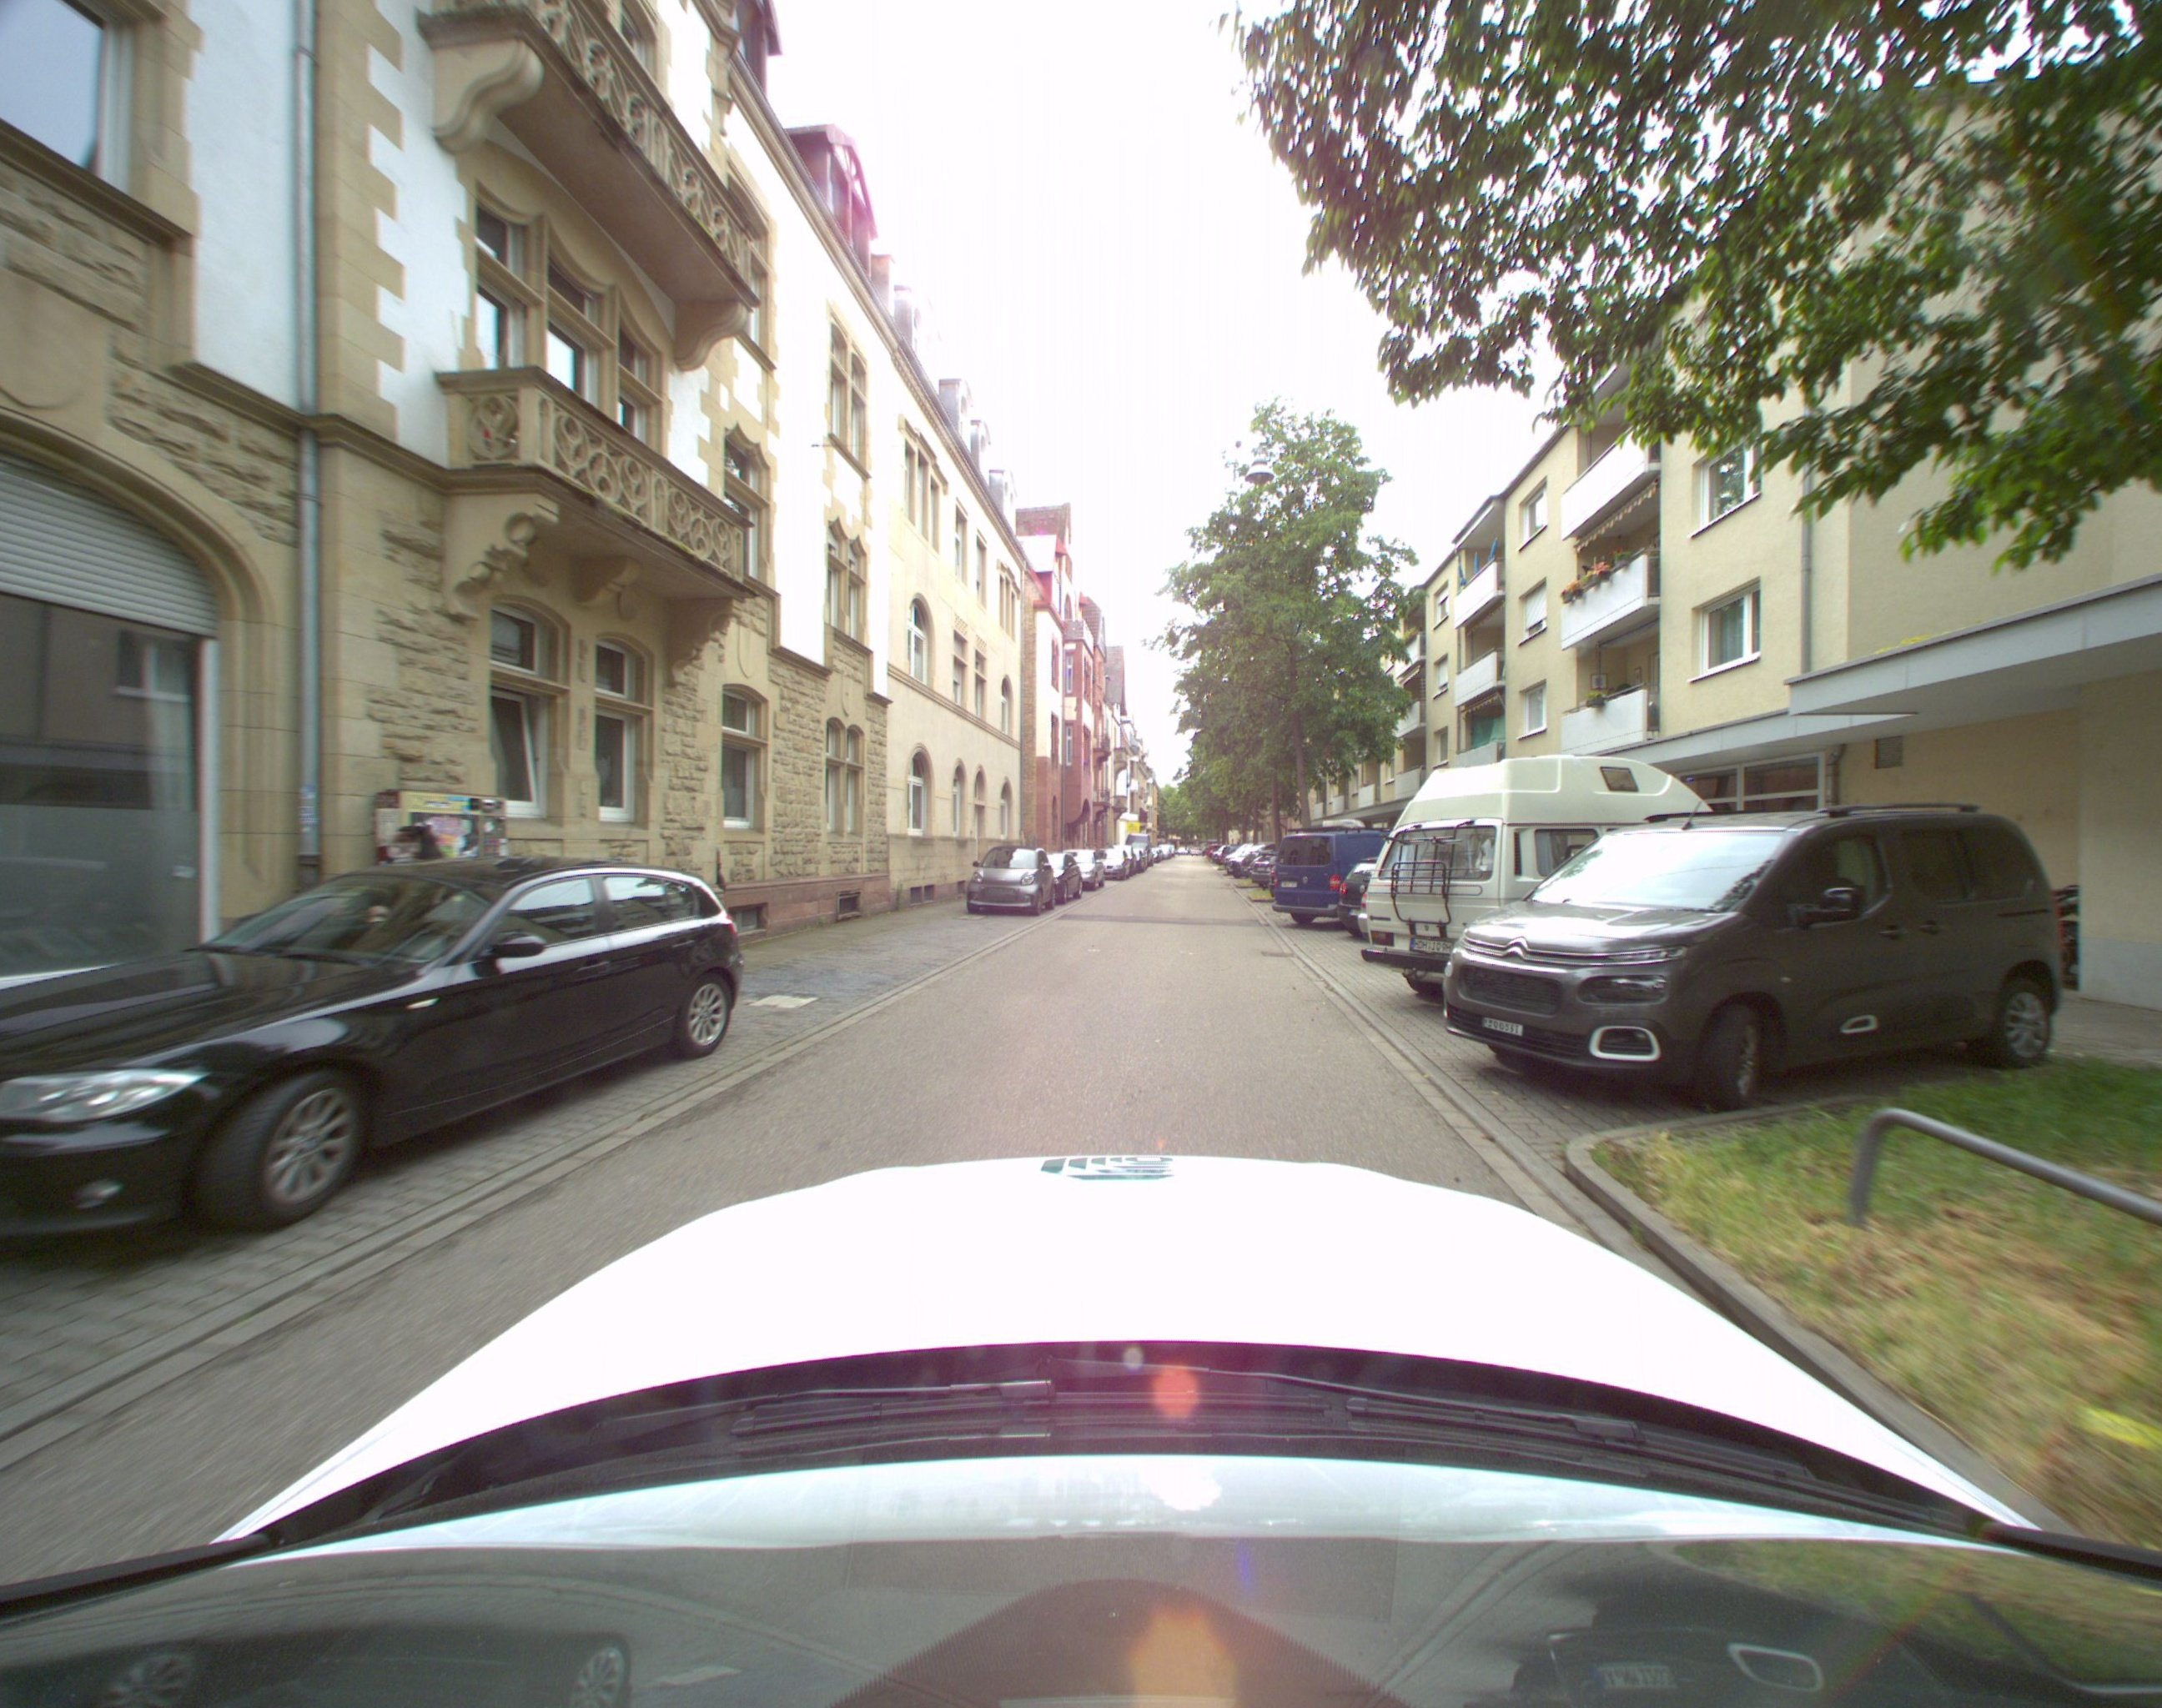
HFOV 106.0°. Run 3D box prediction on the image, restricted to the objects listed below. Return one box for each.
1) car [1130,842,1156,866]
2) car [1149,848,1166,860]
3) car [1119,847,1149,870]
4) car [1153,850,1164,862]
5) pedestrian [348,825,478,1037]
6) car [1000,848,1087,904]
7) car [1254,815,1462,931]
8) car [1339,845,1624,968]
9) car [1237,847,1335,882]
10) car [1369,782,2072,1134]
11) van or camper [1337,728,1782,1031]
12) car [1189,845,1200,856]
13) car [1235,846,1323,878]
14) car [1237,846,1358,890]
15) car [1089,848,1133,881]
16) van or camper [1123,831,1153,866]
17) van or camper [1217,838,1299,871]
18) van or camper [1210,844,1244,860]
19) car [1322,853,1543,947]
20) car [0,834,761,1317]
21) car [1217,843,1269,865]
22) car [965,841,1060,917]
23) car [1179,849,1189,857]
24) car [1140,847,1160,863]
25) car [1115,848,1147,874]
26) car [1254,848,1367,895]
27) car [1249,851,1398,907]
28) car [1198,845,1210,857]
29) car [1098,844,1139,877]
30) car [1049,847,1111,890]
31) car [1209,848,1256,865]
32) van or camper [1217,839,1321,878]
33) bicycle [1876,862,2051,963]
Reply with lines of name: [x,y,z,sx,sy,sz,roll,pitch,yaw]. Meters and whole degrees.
car: [5.364,-0.025,69.969,1.982,2.013,4.902,0,0,8]
car: [9.790,0.022,103.764,1.982,1.475,4.009,0,0,8]
car: [3.610,0.315,54.890,1.658,1.473,4.009,2,0,8]
car: [9.105,0.183,95.582,1.129,1.309,3.267,-3,0,7]
pedestrian: [-5.016,0.548,6.140,0.512,1.518,0.548,0,0,8]
car: [-0.957,0.584,23.111,1.716,1.386,3.937,2,0,8]
car: [6.009,0.334,17.528,4.417,2.196,2.045,0,0,-35]
car: [5.880,0.687,11.924,3.824,1.417,1.710,-3,-1,-26]
car: [9.530,0.472,37.923,4.050,1.483,1.936,-1,0,-18]
car: [4.500,0.535,5.867,4.343,1.854,1.900,0,0,-18]
van or camper: [5.210,0.206,8.810,4.604,2.595,1.895,0,0,-25]
car: [21.105,-0.638,151.748,1.983,1.794,4.007,2,0,6]
car: [9.858,0.383,40.619,3.864,1.502,1.899,-1,0,-22]
car: [8.510,0.521,32.041,4.227,1.500,1.963,-2,0,-20]
car: [1.476,0.457,38.874,1.653,1.420,3.938,2,1,8]
van or camper: [4.578,-0.410,64.757,1.997,2.651,5.328,0,0,8]
van or camper: [11.331,0.043,52.281,4.742,1.994,1.988,-1,-2,-18]
van or camper: [19.625,-0.292,109.710,4.161,2.085,1.939,0,0,-20]
car: [6.317,0.733,14.623,3.674,1.480,1.675,0,0,-26]
car: [-3.742,0.654,4.678,1.699,1.494,4.011,2,2,9]
car: [14.623,-0.004,73.647,4.188,1.869,1.985,-2,0,-22]
car: [-1.546,0.522,19.362,1.638,1.570,2.963,2,2,7]
car: [20.612,-0.183,163.223,1.811,1.645,3.761,2,0,7]
car: [6.918,0.053,81.163,1.780,1.480,4.031,1,0,7]
car: [3.095,0.375,50.060,1.625,1.473,4.009,2,1,8]
car: [8.053,0.592,28.676,3.365,1.496,1.843,-2,0,-15]
car: [6.967,0.642,23.268,4.128,1.442,1.834,-1,0,-33]
car: [22.189,-0.572,146.725,1.983,2.013,4.008,3,1,7]
car: [2.117,0.305,44.857,1.776,1.646,4.371,2,1,8]
car: [0.032,0.479,30.090,1.717,1.386,4.146,2,1,8]
car: [14.226,0.202,76.557,4.028,1.559,1.870,0,0,-23]
van or camper: [10.035,0.213,43.476,5.023,1.869,2.113,-2,0,-20]
bicycle: [10.469,0.645,9.748,0.481,1.090,1.705,0,0,10]
